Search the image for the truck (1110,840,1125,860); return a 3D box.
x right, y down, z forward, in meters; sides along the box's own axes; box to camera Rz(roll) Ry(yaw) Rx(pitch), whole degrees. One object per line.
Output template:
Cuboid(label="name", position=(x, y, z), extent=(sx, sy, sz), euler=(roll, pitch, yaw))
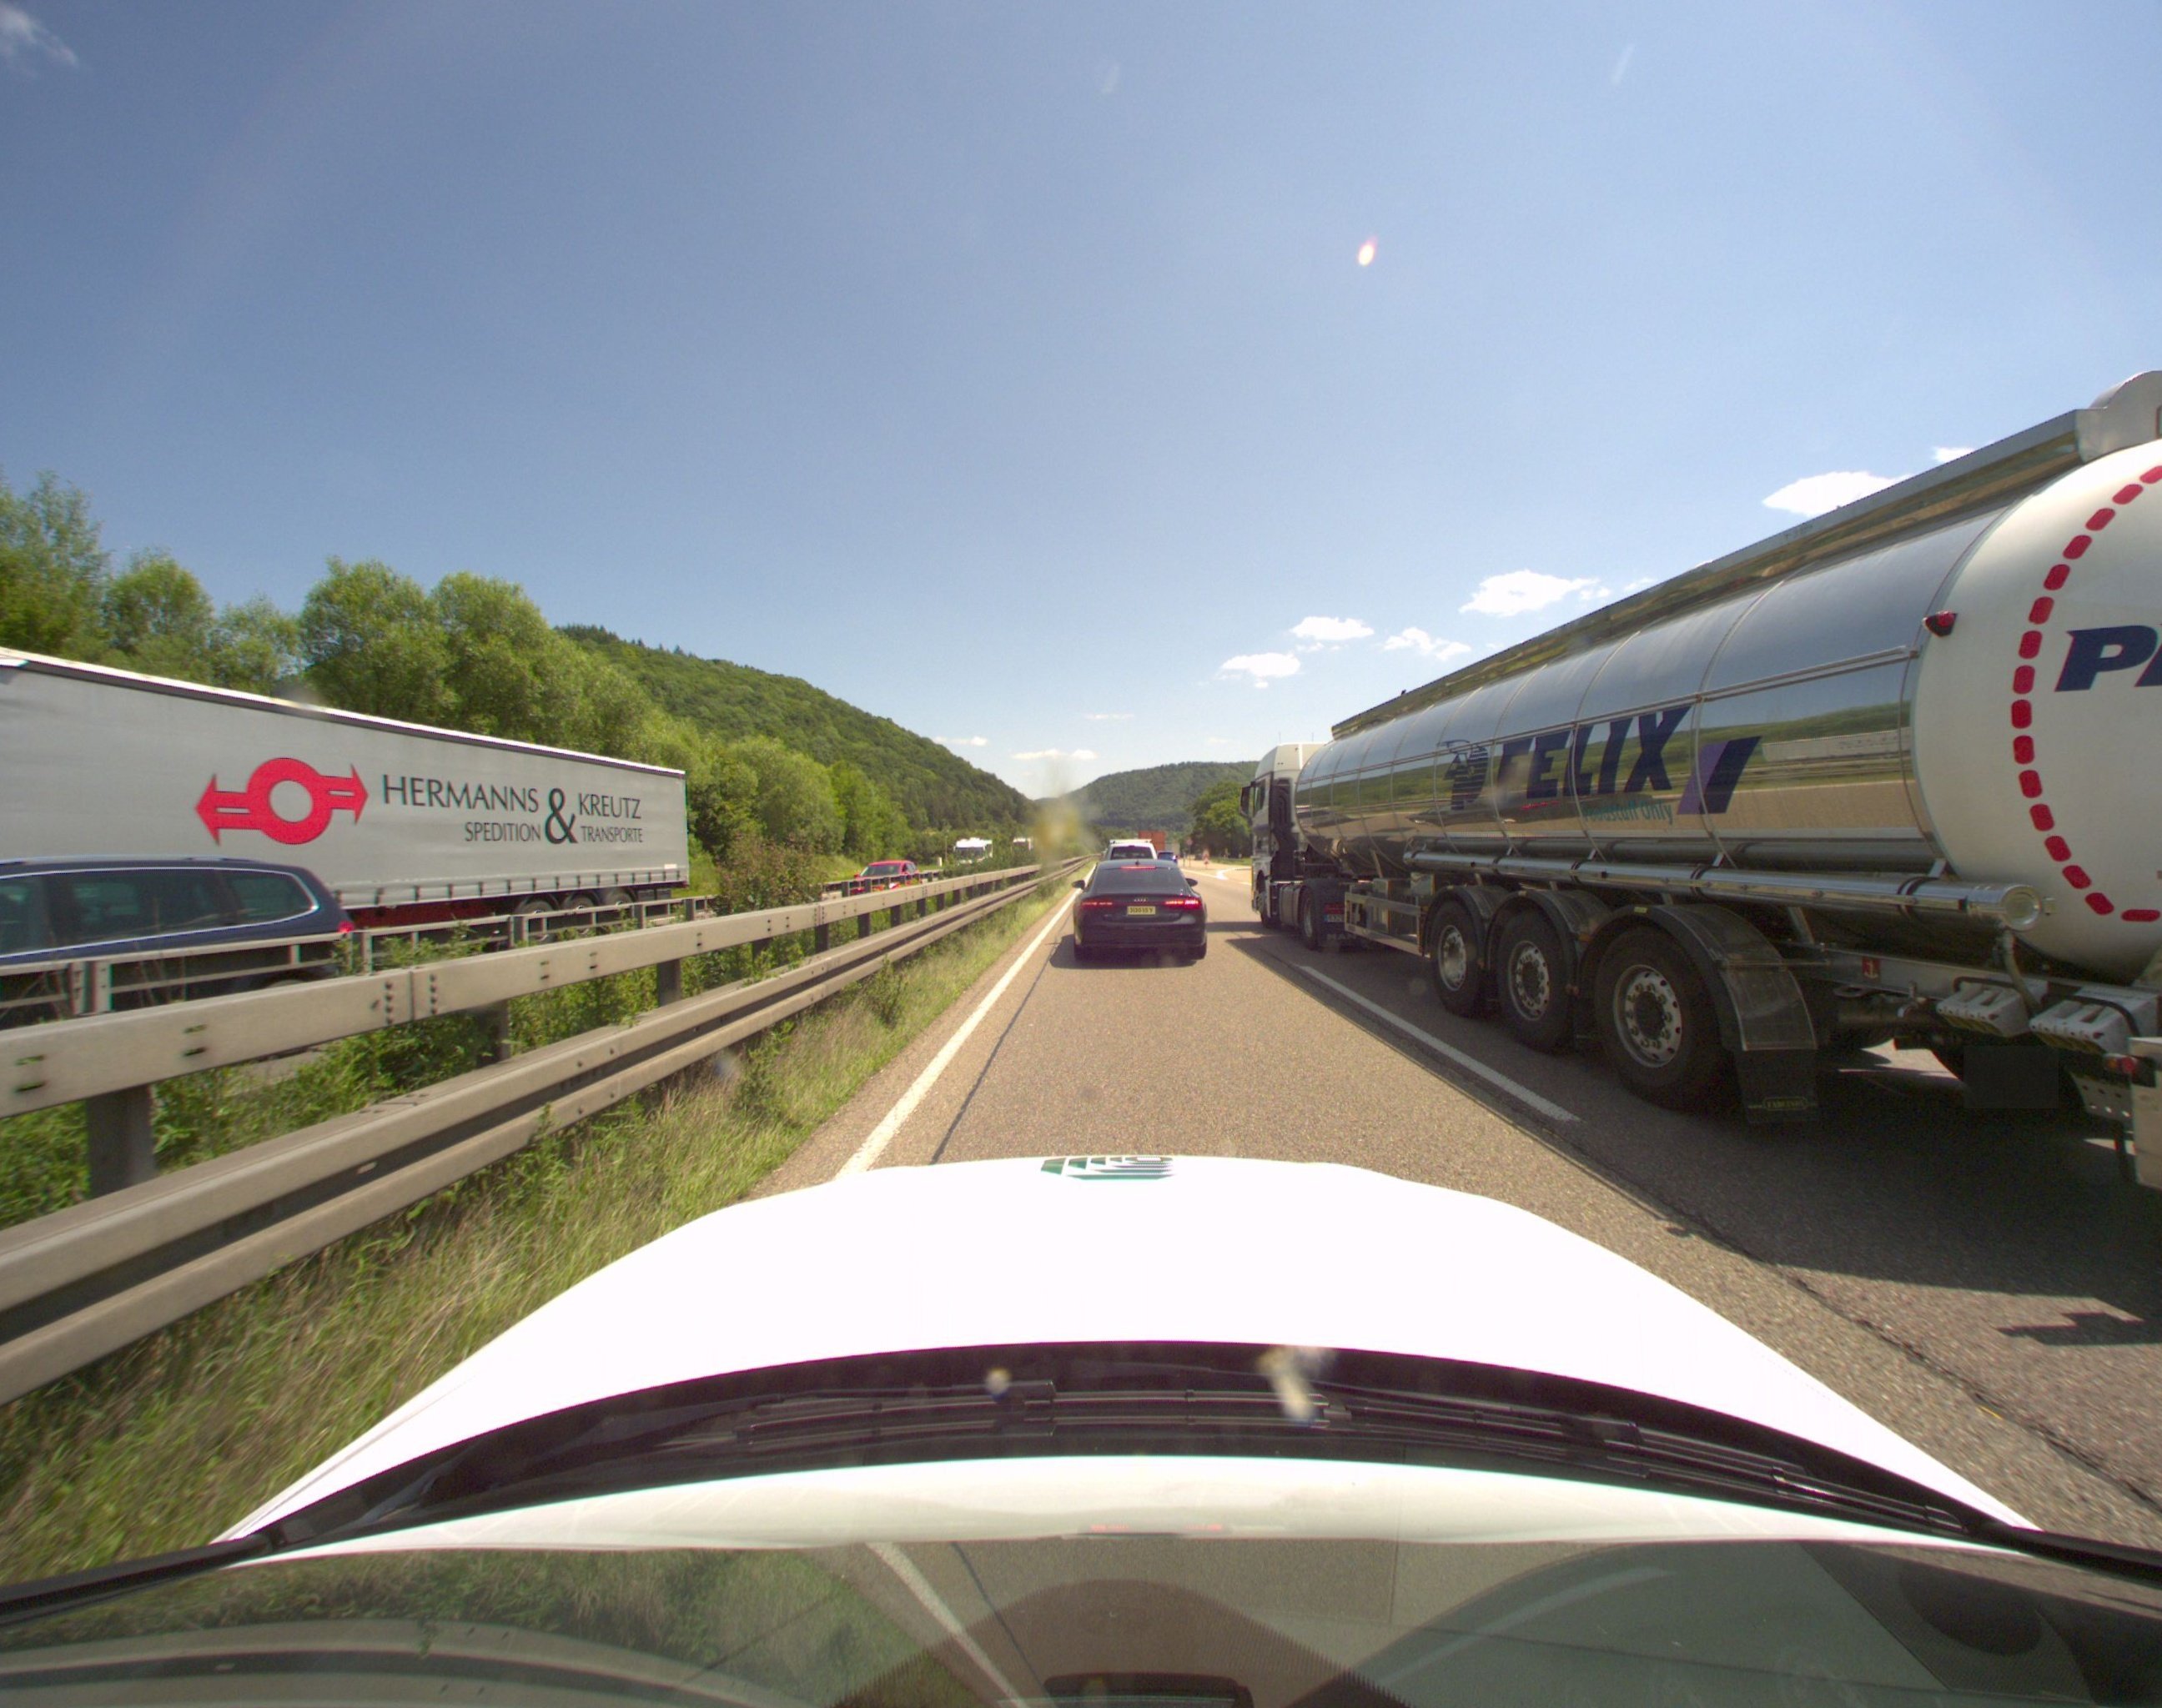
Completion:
Cuboid(label="truck", position=(6.817, -0.753, 151.495), extent=(2.618, 3.440, 11.427), euler=(-2, 0, 2))

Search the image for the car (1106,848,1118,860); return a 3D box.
Cuboid(label="car", position=(4.394, -0.037, 114.994), extent=(1.705, 1.618, 4.003), euler=(-2, 0, 3))

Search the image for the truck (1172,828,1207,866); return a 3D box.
Cuboid(label="truck", position=(12.511, -0.773, 95.177), extent=(2.806, 4.003, 14.966), euler=(-1, 0, 3))

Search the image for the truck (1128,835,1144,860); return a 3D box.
Cuboid(label="truck", position=(8.145, -0.961, 121.966), extent=(1.986, 3.447, 11.817), euler=(-1, 0, 2))

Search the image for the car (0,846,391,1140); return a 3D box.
Cuboid(label="car", position=(-7.566, 0.860, 5.434), extent=(1.915, 1.796, 4.601), euler=(-1, 0, 1))

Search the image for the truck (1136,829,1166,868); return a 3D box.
Cuboid(label="truck", position=(7.755, -0.582, 91.580), extent=(2.806, 4.003, 14.966), euler=(-1, 0, 3))

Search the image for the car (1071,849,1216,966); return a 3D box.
Cuboid(label="car", position=(0.783, 0.686, 12.613), extent=(1.844, 1.488, 4.081), euler=(-1, 0, -1))

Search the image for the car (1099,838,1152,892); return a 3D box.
Cuboid(label="car", position=(1.754, 0.405, 32.970), extent=(1.986, 2.013, 4.002), euler=(-1, 0, 2))

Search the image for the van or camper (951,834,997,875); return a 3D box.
Cuboid(label="van or camper", position=(-9.355, 0.038, 71.945), extent=(2.579, 3.335, 7.654), euler=(-2, 0, 3))

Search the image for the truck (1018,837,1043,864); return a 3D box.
Cuboid(label="truck", position=(-7.544, -0.517, 122.865), extent=(2.858, 3.980, 9.035), euler=(-1, 0, 2))

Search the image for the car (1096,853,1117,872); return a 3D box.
Cuboid(label="car", position=(2.262, 0.722, 70.930), extent=(1.705, 1.618, 4.003), euler=(-2, 0, 3))

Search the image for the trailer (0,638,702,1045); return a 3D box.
Cuboid(label="trailer", position=(-11.746, -0.122, 14.596), extent=(2.771, 3.999, 14.167), euler=(-1, 0, 2))

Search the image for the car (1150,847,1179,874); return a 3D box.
Cuboid(label="car", position=(6.426, 0.483, 63.248), extent=(1.985, 2.002, 4.003), euler=(-2, 0, 3))

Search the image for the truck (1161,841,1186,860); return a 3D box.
Cuboid(label="truck", position=(22.705, -0.845, 199.260), extent=(3.766, 4.414, 15.013), euler=(-2, 0, 14))

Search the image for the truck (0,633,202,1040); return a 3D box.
Cuboid(label="truck", position=(-12.029, -0.130, 7.072), extent=(2.717, 4.001, 5.372), euler=(-2, 0, 2))

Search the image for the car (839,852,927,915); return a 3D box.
Cuboid(label="car", position=(-6.810, 0.958, 28.489), extent=(1.987, 2.013, 4.333), euler=(-1, 0, 0))

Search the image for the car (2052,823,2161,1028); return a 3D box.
Cuboid(label="car", position=(9.157, 0.544, 4.899), extent=(1.672, 1.595, 4.251), euler=(-1, 0, 3))

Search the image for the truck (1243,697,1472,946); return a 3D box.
Cuboid(label="truck", position=(4.724, -0.501, 15.004), extent=(2.502, 3.758, 5.247), euler=(-1, 0, 1))

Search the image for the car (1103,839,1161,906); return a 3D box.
Cuboid(label="car", position=(1.479, 0.522, 24.624), extent=(1.570, 1.833, 4.002), euler=(-1, 0, 2))

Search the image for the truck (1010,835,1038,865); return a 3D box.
Cuboid(label="truck", position=(-7.803, -0.561, 113.273), extent=(2.859, 4.006, 10.174), euler=(-1, 0, 1))

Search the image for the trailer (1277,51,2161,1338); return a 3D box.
Cuboid(label="trailer", position=(4.556, -0.475, 8.257), extent=(2.529, 3.735, 11.895), euler=(-1, 0, 1))

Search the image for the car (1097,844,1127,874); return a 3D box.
Cuboid(label="car", position=(2.237, 0.364, 59.182), extent=(1.986, 2.013, 4.001), euler=(-2, 0, 1))
